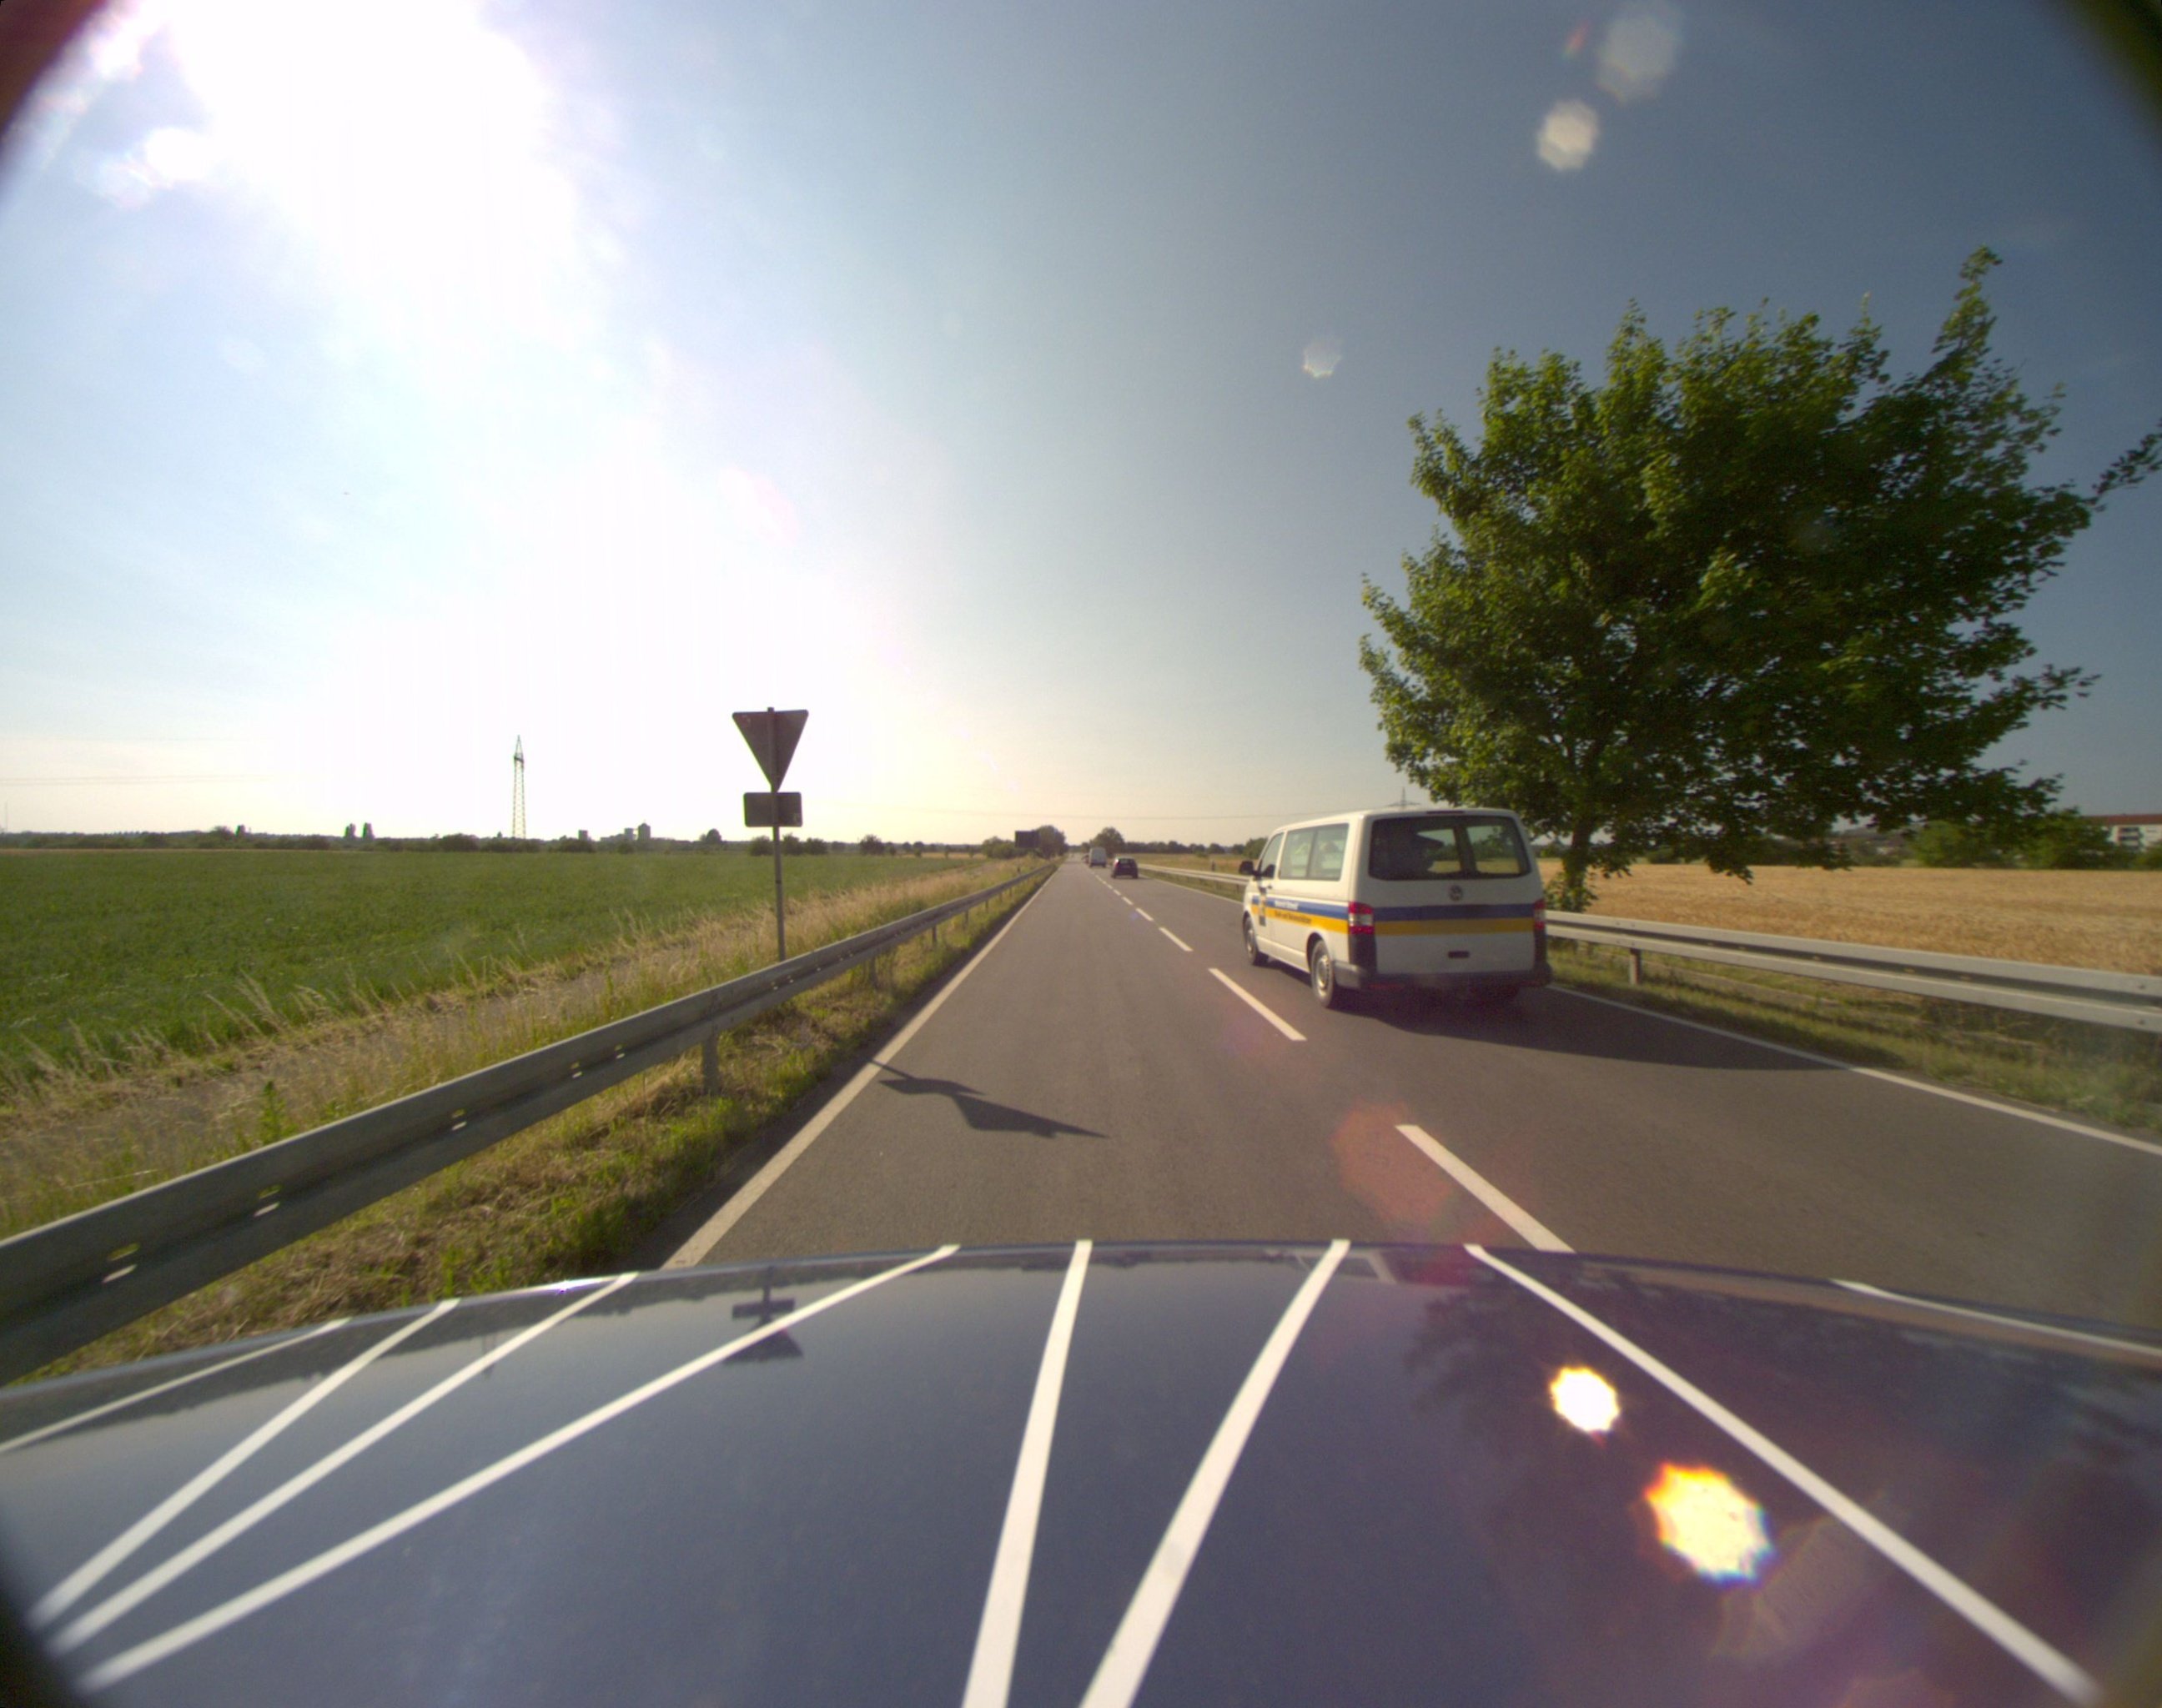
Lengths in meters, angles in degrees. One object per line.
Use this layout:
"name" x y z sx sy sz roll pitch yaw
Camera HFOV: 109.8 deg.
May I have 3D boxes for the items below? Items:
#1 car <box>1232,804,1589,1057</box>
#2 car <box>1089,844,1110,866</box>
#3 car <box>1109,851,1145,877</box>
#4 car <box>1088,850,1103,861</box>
"car" 3.153 0.570 8.542 1.917 2.002 4.782 -1 1 0
"car" 2.344 0.075 96.505 2.405 2.561 5.373 0 1 -1
"car" 3.065 0.665 51.426 2.014 1.576 4.825 0 1 -1
"car" 2.482 0.209 128.728 2.405 1.680 5.372 0 3 -1
